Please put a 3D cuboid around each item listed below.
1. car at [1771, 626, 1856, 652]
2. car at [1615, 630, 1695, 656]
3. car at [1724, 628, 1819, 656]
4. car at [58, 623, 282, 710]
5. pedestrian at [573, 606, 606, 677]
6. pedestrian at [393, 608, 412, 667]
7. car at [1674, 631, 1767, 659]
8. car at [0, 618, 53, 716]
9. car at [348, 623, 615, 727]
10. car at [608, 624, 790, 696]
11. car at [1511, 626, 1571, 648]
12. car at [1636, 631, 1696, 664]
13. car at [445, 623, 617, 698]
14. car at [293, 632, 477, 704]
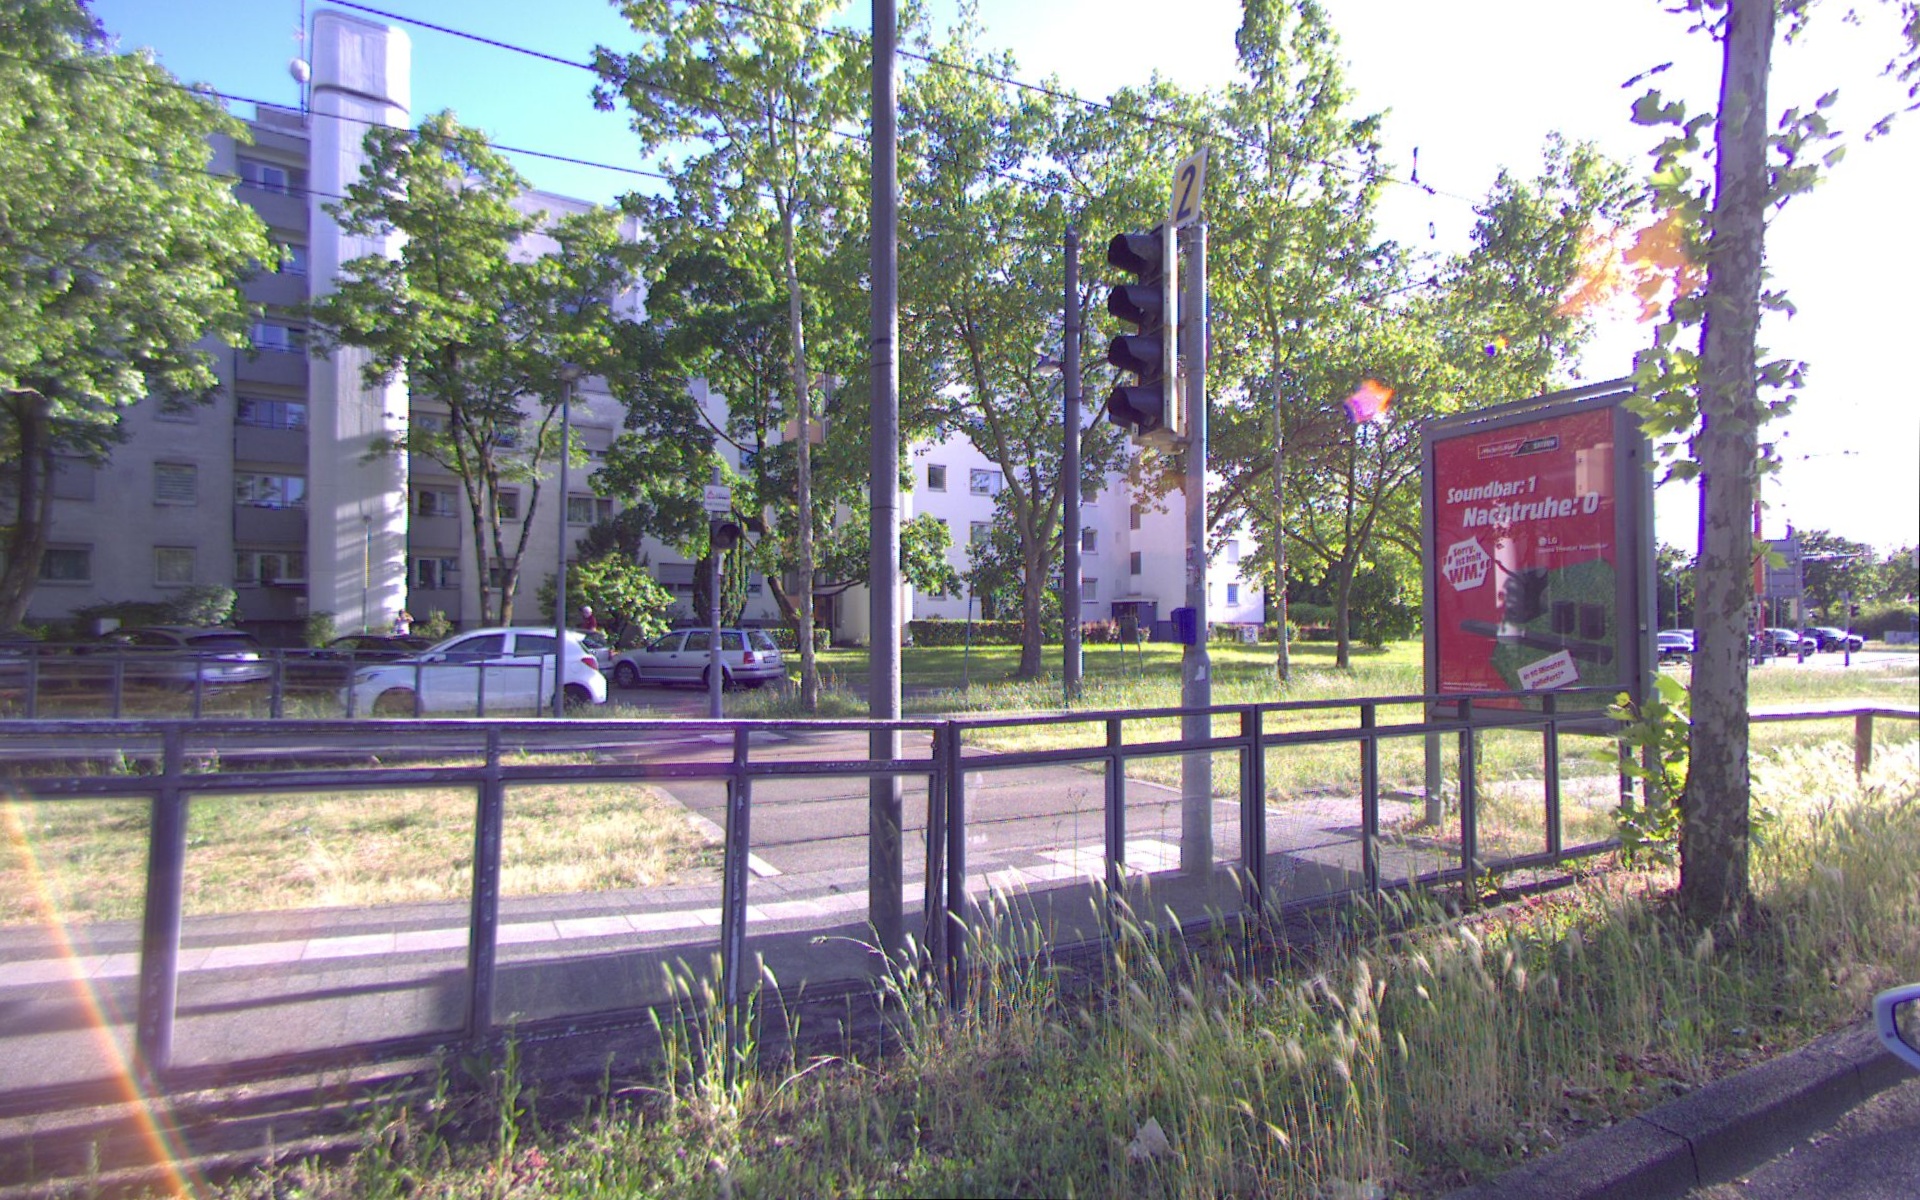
[{"bbox_3d":[56.560,2.580,66.667,1.866,1.642,3.994,-2,-2,-10],"label":"car"},{"bbox_3d":[47.541,2.956,68.828,1.866,1.632,4.493,-2,-2,-10],"label":"car"},{"bbox_3d":[50.870,2.644,63.066,1.866,1.632,4.493,-2,-2,-10],"label":"car"},{"bbox_3d":[-14.608,1.189,18.619,3.316,1.445,1.541,1,-1,14],"label":"car"},{"bbox_3d":[-9.606,1.073,26.042,0.709,1.816,0.473,1,0,-30],"label":"pedestrian"},{"bbox_3d":[-17.297,1.156,31.153,0.445,1.815,0.315,1,-1,-35],"label":"pedestrian"},{"bbox_3d":[47.372,2.784,62.692,1.866,1.632,4.493,-2,-2,-10],"label":"car"},{"bbox_3d":[-17.239,1.100,16.899,3.075,1.568,1.466,1,0,14],"label":"car"},{"bbox_3d":[-7.607,1.141,16.117,3.674,1.469,1.624,2,-1,-30],"label":"car"},{"bbox_3d":[-6.099,1.346,23.533,3.843,1.496,1.632,1,-1,19],"label":"car"},{"bbox_3d":[47.726,3.047,82.622,1.866,1.632,4.492,-2,0,-10],"label":"car"},{"bbox_3d":[37.863,2.510,53.950,1.864,1.564,4.496,1,-1,26],"label":"car"},{"bbox_3d":[-9.408,1.285,22.072,3.222,1.450,1.571,1,0,19],"label":"car"},{"bbox_3d":[-11.646,1.338,20.359,3.318,1.270,1.465,1,-1,21],"label":"car"}]
